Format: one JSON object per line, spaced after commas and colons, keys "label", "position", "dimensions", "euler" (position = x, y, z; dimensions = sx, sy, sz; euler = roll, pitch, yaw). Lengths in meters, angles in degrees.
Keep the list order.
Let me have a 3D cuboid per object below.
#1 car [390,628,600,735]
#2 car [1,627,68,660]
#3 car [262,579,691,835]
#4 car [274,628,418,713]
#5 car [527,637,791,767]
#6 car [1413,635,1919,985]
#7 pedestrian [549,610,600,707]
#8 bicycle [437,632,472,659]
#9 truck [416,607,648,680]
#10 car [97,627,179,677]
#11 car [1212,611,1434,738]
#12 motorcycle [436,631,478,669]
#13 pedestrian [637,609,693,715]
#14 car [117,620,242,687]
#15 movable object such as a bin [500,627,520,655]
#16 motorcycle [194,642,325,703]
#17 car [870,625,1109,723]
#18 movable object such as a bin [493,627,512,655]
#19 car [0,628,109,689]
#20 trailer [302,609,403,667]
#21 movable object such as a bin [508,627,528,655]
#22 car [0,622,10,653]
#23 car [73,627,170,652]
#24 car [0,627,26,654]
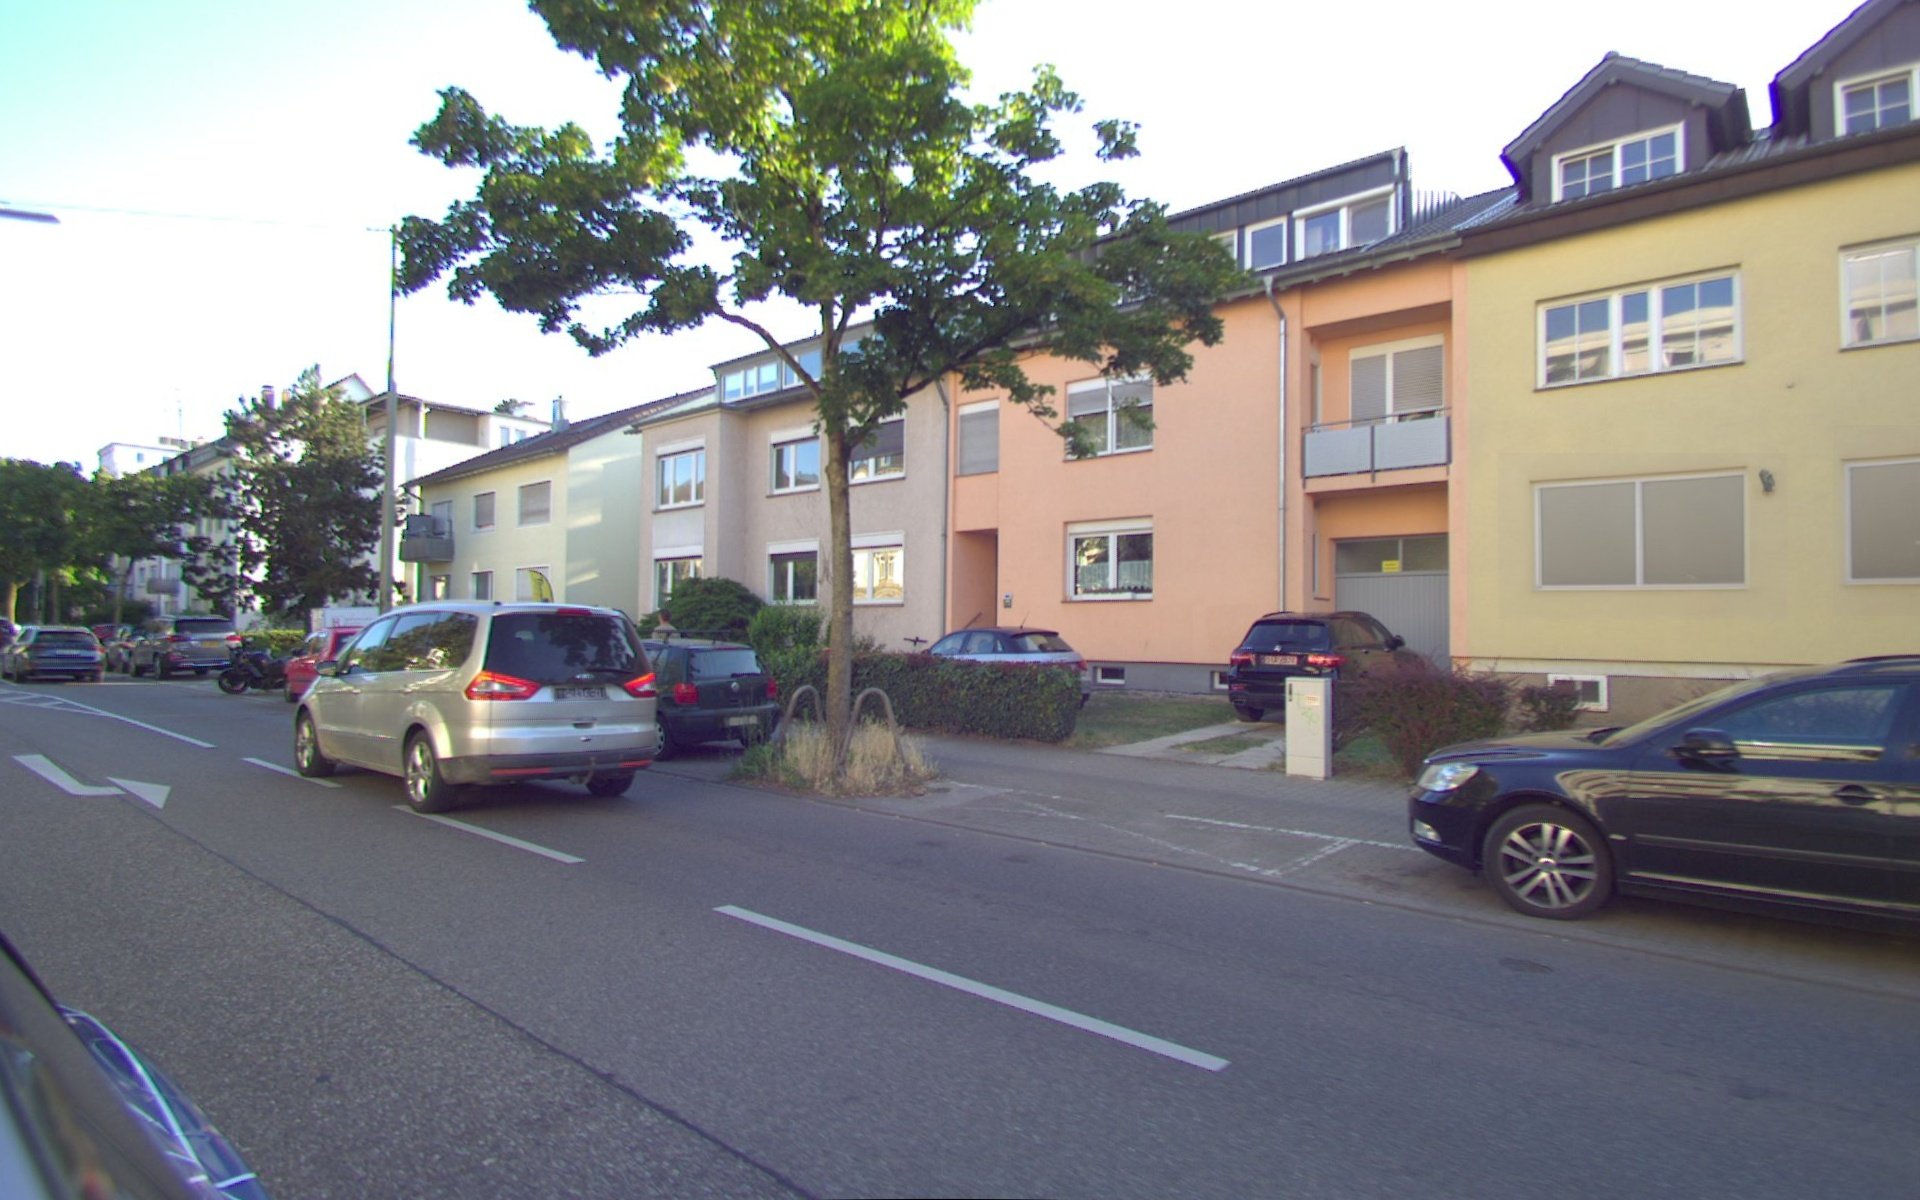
{"label": "car", "position": [-7.626, 1.234, 16.459], "dimensions": [3.887, 1.535, 1.577], "euler": [-1, -3, 40]}
{"label": "car", "position": [-44.611, 2.085, 48.751], "dimensions": [3.997, 1.497, 1.839], "euler": [-1, -3, 40]}
{"label": "car", "position": [-4.681, 0.850, 9.438], "dimensions": [4.743, 1.818, 1.786], "euler": [-1, -4, 41]}
{"label": "car", "position": [-12.189, 1.333, 20.032], "dimensions": [3.437, 1.535, 1.575], "euler": [-1, -3, 44]}
{"label": "car", "position": [-3.948, 1.202, 13.013], "dimensions": [3.664, 1.407, 1.527], "euler": [-1, -3, 41]}
{"label": "car", "position": [4.959, 0.965, 5.138], "dimensions": [4.515, 1.506, 1.848], "euler": [-1, -1, 41]}
{"label": "pedestrian", "position": [-7.341, 1.110, 19.280], "dimensions": [0.506, 1.806, 0.706], "euler": [-2, -3, 43]}
{"label": "bicycle", "position": [-20.608, 1.853, 41.235], "dimensions": [2.045, 1.072, 0.513], "euler": [-1, -3, 41]}
{"label": "truck", "position": [-14.069, 1.442, 33.780], "dimensions": [2.275, 2.202, 6.823], "euler": [-1, -3, 40]}
{"label": "car", "position": [-26.989, 1.690, 33.228], "dimensions": [2.747, 1.567, 1.557], "euler": [-1, -3, 40]}
{"label": "car", "position": [5.688, 1.029, 15.599], "dimensions": [1.865, 1.648, 3.945], "euler": [-1, -1, 42]}
{"label": "motorcycle", "position": [-18.776, 1.854, 37.762], "dimensions": [2.257, 1.384, 0.564], "euler": [-1, -3, 41]}
{"label": "pedestrian", "position": [-5.184, 1.082, 17.798], "dimensions": [0.572, 1.806, 0.706], "euler": [-2, -3, 43]}
{"label": "car", "position": [-22.812, 1.509, 29.511], "dimensions": [4.722, 1.793, 1.868], "euler": [-1, -3, 40]}
{"label": "movable object such as a bin", "position": [-16.619, 1.514, 37.382], "dimensions": [0.449, 1.026, 0.497], "euler": [-1, -3, 40]}
{"label": "motorcycle", "position": [-15.569, 1.592, 22.505], "dimensions": [2.350, 1.276, 1.176], "euler": [0, -3, 17]}
{"label": "car", "position": [0.402, 1.149, 16.572], "dimensions": [3.752, 1.420, 1.646], "euler": [-2, -4, 43]}
{"label": "movable object such as a bin", "position": [-17.051, 1.523, 37.721], "dimensions": [0.449, 1.026, 0.497], "euler": [-1, -3, 40]}
{"label": "car", "position": [-24.068, 1.502, 26.620], "dimensions": [4.530, 1.463, 1.742], "euler": [-1, -5, 40]}
{"label": "trailer", "position": [-22.003, 1.380, 36.706], "dimensions": [1.551, 2.029, 2.746], "euler": [-1, -3, 38]}
{"label": "movable object such as a bin", "position": [-16.167, 1.500, 37.013], "dimensions": [0.449, 1.026, 0.497], "euler": [-1, -3, 40]}
{"label": "car", "position": [-59.433, 2.270, 61.703], "dimensions": [4.189, 1.823, 1.717], "euler": [-1, -3, 41]}
{"label": "car", "position": [-54.097, 2.519, 65.373], "dimensions": [1.735, 1.416, 4.516], "euler": [-1, -1, 30]}
{"label": "car", "position": [-54.068, 2.254, 56.980], "dimensions": [3.634, 1.475, 1.717], "euler": [-1, -3, 41]}
